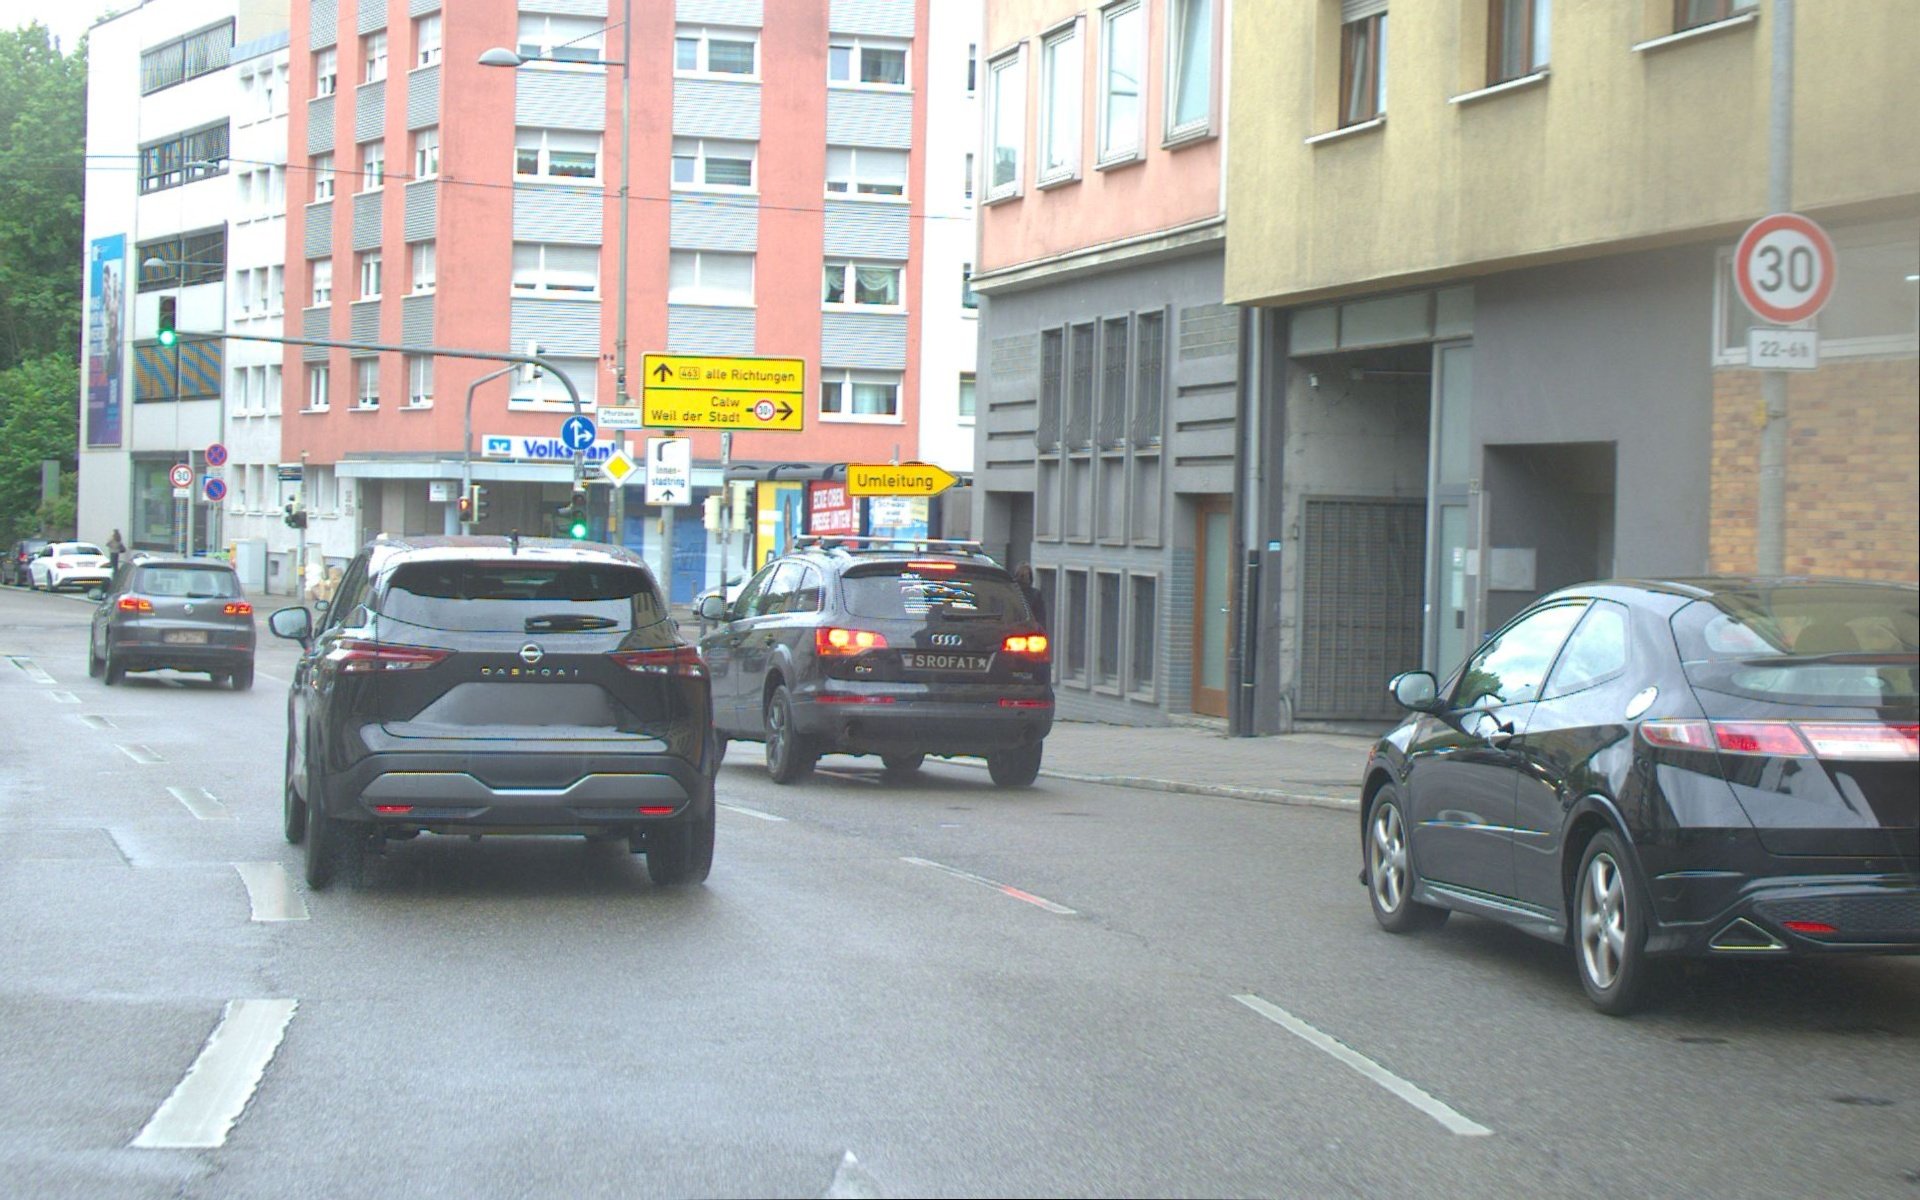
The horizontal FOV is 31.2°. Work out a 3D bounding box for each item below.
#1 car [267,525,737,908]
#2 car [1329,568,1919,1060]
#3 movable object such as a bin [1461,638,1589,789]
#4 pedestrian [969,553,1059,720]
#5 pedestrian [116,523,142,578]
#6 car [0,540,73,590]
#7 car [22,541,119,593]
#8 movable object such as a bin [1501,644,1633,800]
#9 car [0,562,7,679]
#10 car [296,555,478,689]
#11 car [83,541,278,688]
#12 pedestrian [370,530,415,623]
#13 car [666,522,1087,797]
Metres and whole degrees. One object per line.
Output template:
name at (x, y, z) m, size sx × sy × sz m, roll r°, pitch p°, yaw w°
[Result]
car at (-2.347, 0.499, 16.719) m, size 1.894 × 1.623 × 4.001 m, roll 1°, pitch 0°, yaw -13°
car at (2.719, 0.643, 12.545) m, size 1.783 × 1.491 × 4.057 m, roll 1°, pitch 0°, yaw -8°
movable object such as a bin at (4.145, 0.828, 25.264) m, size 0.680 × 1.073 × 0.668 m, roll 1°, pitch 0°, yaw -17°
pedestrian at (0.587, 0.393, 37.859) m, size 0.672 × 1.781 × 1.095 m, roll 2°, pitch 1°, yaw -14°
pedestrian at (-26.289, -1.567, 108.783) m, size 0.612 × 1.731 × 0.681 m, roll -1°, pitch 2°, yaw -31°
car at (-28.467, -1.084, 105.658) m, size 1.714 × 1.437 × 4.083 m, roll -1°, pitch 2°, yaw -24°
car at (-25.817, -0.965, 99.719) m, size 1.774 × 1.396 × 4.581 m, roll -1°, pitch 2°, yaw -27°
movable object such as a bin at (4.335, 0.867, 24.589) m, size 0.680 × 1.073 × 0.668 m, roll 1°, pitch 0°, yaw -17°
car at (-13.197, 0.142, 43.279) m, size 1.993 × 1.383 × 4.501 m, roll 3°, pitch 1°, yaw -19°
car at (-8.242, 0.271, 49.205) m, size 1.945 × 1.810 × 4.001 m, roll -1°, pitch 1°, yaw -19°
car at (-10.031, 0.147, 44.048) m, size 1.945 × 1.679 × 4.001 m, roll 4°, pitch 0°, yaw -18°
pedestrian at (-13.496, -0.560, 81.751) m, size 0.825 × 2.151 × 0.770 m, roll 3°, pitch 0°, yaw -18°
car at (-0.756, 0.366, 25.952) m, size 2.020 × 1.863 × 4.901 m, roll 0°, pitch 1°, yaw -16°
